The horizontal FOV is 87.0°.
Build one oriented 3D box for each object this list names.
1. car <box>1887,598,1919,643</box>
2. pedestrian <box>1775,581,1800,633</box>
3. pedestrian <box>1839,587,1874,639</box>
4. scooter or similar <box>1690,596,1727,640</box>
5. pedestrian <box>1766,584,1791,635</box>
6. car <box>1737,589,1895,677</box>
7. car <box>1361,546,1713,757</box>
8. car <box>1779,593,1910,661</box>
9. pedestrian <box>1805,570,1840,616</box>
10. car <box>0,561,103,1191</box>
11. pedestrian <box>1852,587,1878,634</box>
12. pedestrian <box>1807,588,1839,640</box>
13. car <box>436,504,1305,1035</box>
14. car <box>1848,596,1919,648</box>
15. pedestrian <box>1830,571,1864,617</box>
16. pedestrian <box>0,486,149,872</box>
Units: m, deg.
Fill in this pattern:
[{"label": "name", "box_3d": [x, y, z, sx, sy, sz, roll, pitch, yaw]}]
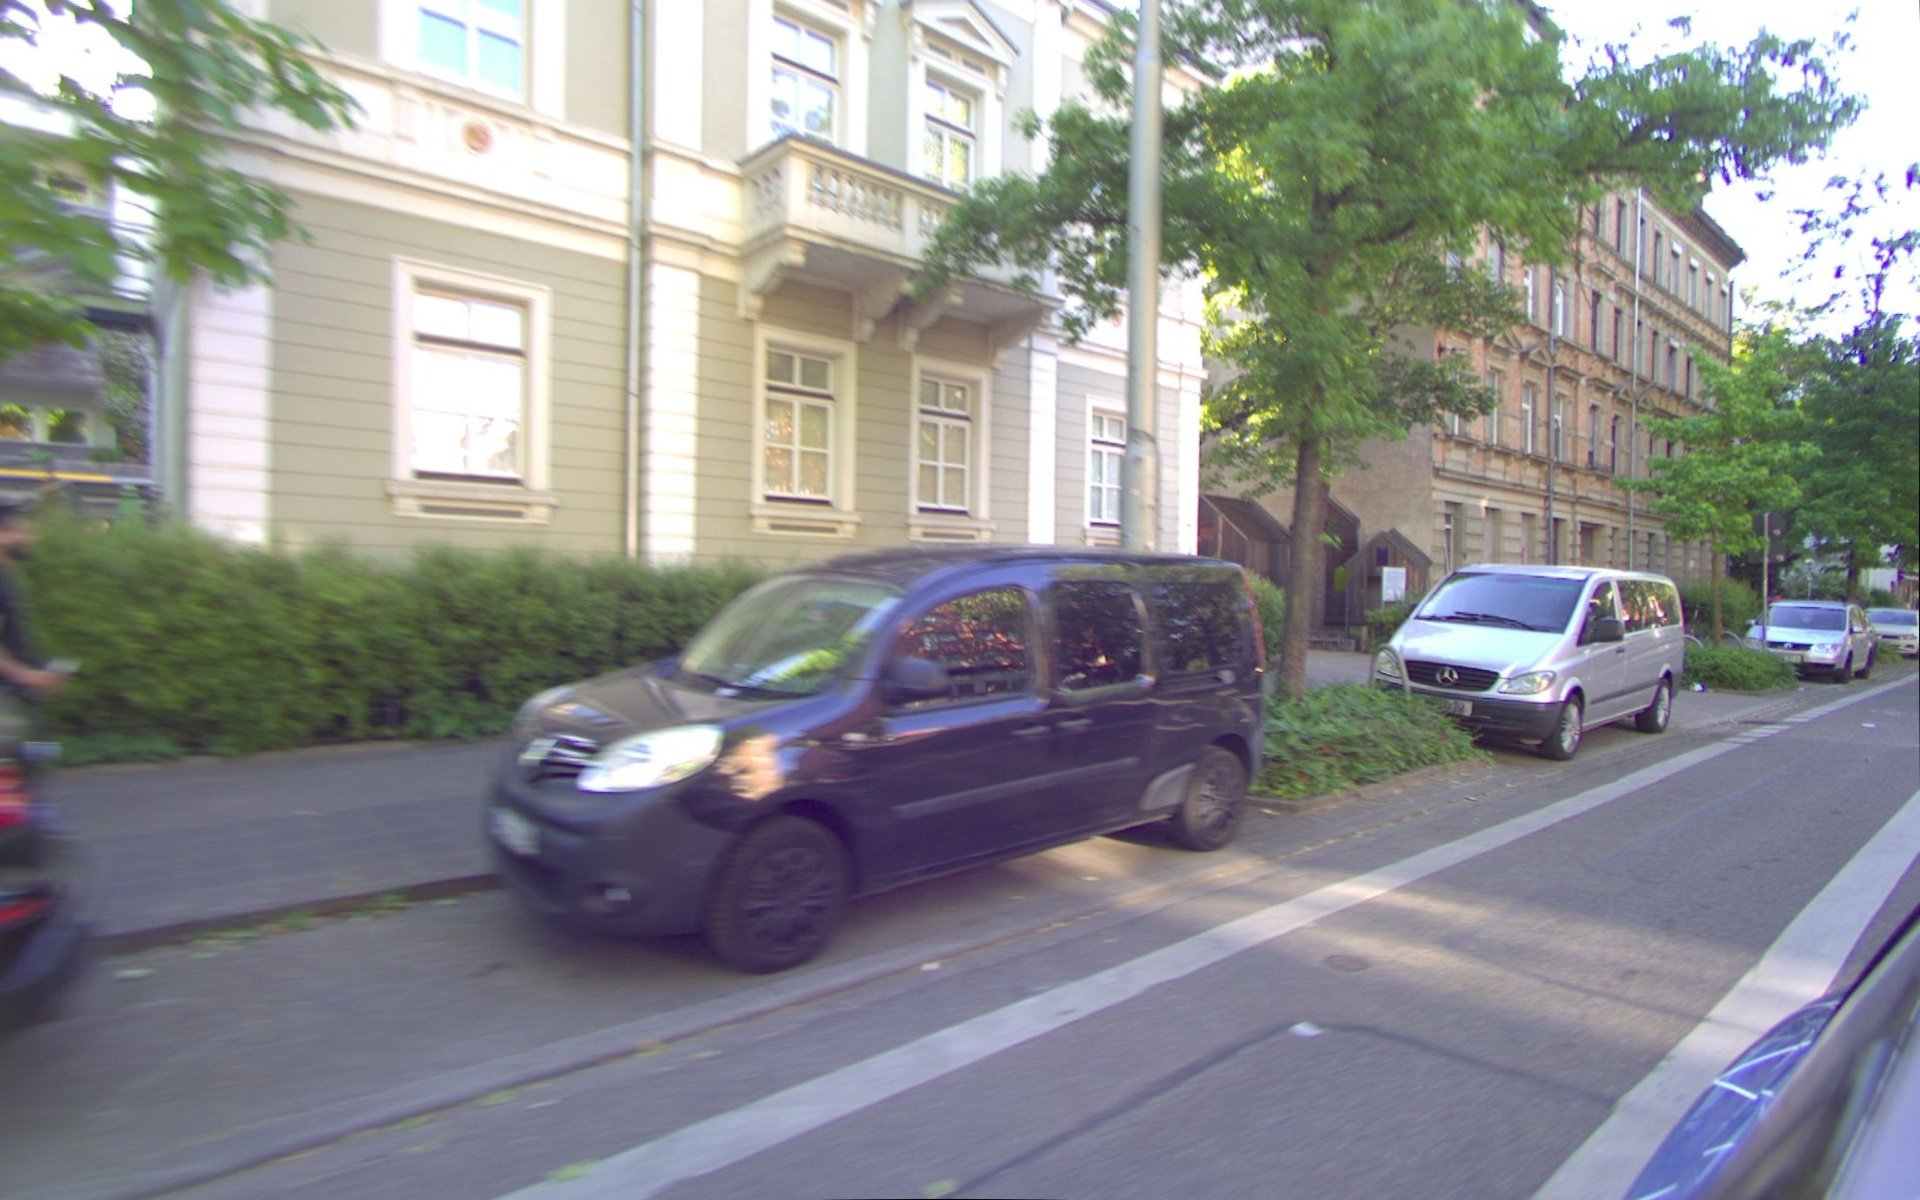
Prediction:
[{"label": "car", "box_3d": [33.486, 0.718, 35.041, 3.777, 1.429, 1.676, -1, 4, -42]}, {"label": "pedestrian", "box_3d": [29.292, 0.235, 35.821, 0.716, 1.816, 0.599, 0, 0, -44]}, {"label": "pedestrian", "box_3d": [30.132, 0.414, 34.009, 0.939, 1.714, 0.727, 0, 0, -39]}, {"label": "scooter or similar", "box_3d": [21.951, 0.506, 29.671, 1.311, 1.262, 0.577, 0, 0, -40]}, {"label": "pedestrian", "box_3d": [29.477, 0.323, 36.459, 0.716, 1.816, 0.599, 0, 0, -43]}, {"label": "car", "box_3d": [18.247, 0.614, 21.519, 4.168, 1.587, 1.888, 0, 4, -41]}, {"label": "car", "box_3d": [6.674, 0.413, 11.440, 4.880, 1.874, 1.888, 0, 4, -41]}, {"label": "car", "box_3d": [22.789, 0.626, 26.023, 4.514, 1.485, 1.888, 0, 4, -41]}, {"label": "pedestrian", "box_3d": [35.364, -0.290, 41.495, 0.948, 1.815, 0.729, 1, 2, -30]}, {"label": "car", "box_3d": [-4.272, 0.686, 1.953, 3.968, 1.532, 1.715, -1, 3, -42]}, {"label": "pedestrian", "box_3d": [35.667, 0.414, 39.887, 0.590, 1.816, 0.726, 0, 0, -44]}, {"label": "pedestrian", "box_3d": [29.652, 0.470, 34.773, 0.841, 1.731, 0.727, 0, 0, -42]}, {"label": "car", "box_3d": [-0.163, 0.532, 5.635, 4.596, 1.788, 1.889, 0, 2, -41]}, {"label": "car", "box_3d": [28.671, 0.636, 30.806, 4.035, 1.384, 1.888, 0, 4, -41]}, {"label": "pedestrian", "box_3d": [35.909, -0.256, 40.956, 0.836, 1.815, 0.729, 1, 2, -30]}, {"label": "pedestrian", "box_3d": [-4.658, 0.329, 4.885, 0.818, 1.733, 0.834, 3, 1, -11]}]
